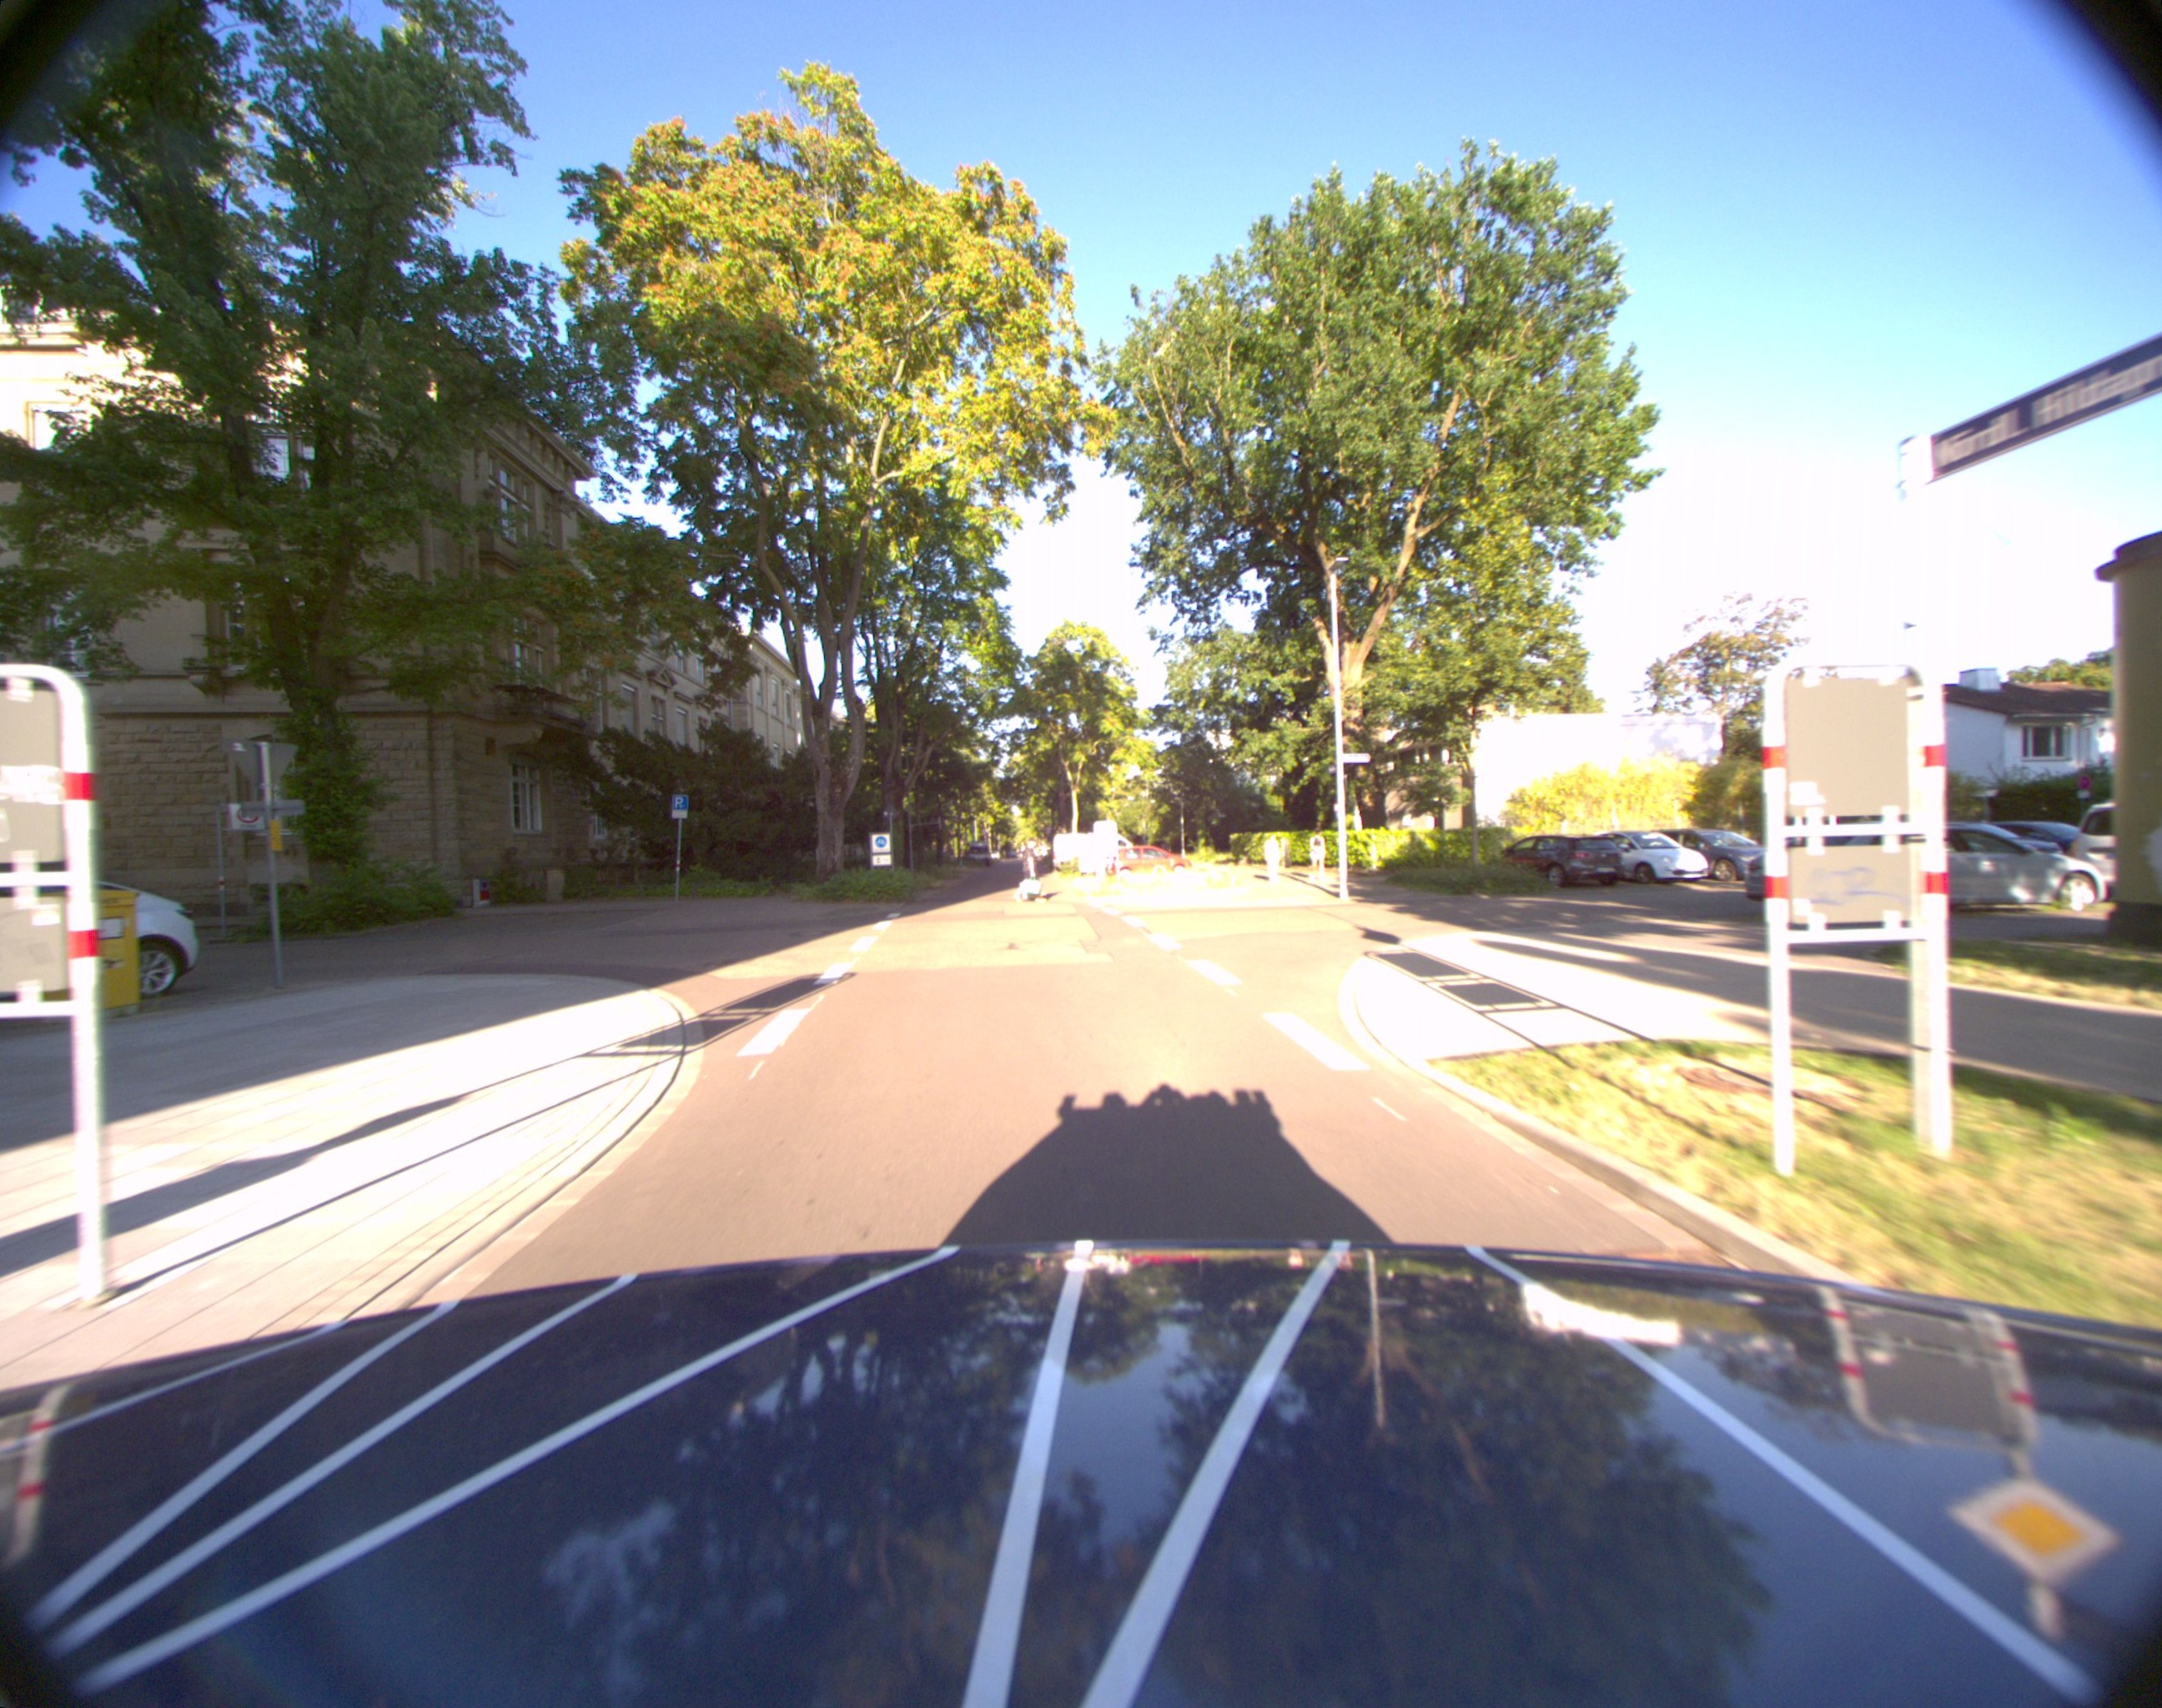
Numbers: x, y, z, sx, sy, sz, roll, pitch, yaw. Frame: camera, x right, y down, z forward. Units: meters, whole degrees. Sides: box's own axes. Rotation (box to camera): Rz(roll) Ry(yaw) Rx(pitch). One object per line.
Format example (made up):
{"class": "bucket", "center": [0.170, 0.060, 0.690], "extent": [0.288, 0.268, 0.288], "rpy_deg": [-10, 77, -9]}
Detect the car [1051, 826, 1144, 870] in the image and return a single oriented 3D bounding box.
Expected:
{"class": "car", "center": [1.053, -0.402, 51.044], "extent": [5.909, 2.685, 2.219], "rpy_deg": [-2, 1, -7]}

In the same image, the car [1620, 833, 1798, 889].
{"class": "car", "center": [18.708, 0.138, 22.902], "extent": [1.810, 1.449, 4.096], "rpy_deg": [-2, 2, -4]}

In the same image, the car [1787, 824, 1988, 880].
{"class": "car", "center": [24.470, -0.121, 23.279], "extent": [1.745, 1.529, 3.920], "rpy_deg": [-2, 2, -8]}

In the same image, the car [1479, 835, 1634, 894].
{"class": "car", "center": [13.596, 0.260, 22.011], "extent": [1.645, 1.507, 3.997], "rpy_deg": [-2, 1, -7]}

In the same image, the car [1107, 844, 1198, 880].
{"class": "car", "center": [3.106, 0.345, 33.462], "extent": [3.679, 1.412, 1.717], "rpy_deg": [-2, 1, -7]}

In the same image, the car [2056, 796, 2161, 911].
{"class": "car", "center": [19.956, -0.079, 13.163], "extent": [4.237, 1.905, 1.761], "rpy_deg": [-2, 1, -6]}

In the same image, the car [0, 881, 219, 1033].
{"class": "car", "center": [-12.252, 1.101, 7.768], "extent": [1.967, 1.579, 4.719], "rpy_deg": [-2, -2, -9]}

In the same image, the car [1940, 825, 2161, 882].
{"class": "car", "center": [29.569, -0.076, 23.314], "extent": [1.745, 1.529, 3.920], "rpy_deg": [-2, 2, -8]}

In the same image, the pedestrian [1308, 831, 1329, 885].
{"class": "pedestrian", "center": [7.963, 0.122, 25.478], "extent": [0.435, 1.765, 0.666], "rpy_deg": [-2, 1, -1]}

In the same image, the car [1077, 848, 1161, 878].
{"class": "car", "center": [1.912, 0.445, 38.991], "extent": [4.059, 1.412, 1.717], "rpy_deg": [-2, 1, -7]}

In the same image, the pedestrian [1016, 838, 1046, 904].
{"class": "pedestrian", "center": [-1.454, 0.485, 22.254], "extent": [0.615, 1.907, 0.721], "rpy_deg": [0, 0, -29]}

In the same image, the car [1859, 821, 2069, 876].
{"class": "car", "center": [27.158, -0.218, 23.594], "extent": [1.745, 1.529, 3.920], "rpy_deg": [-2, 2, -8]}

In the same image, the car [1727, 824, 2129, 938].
{"class": "car", "center": [13.610, 0.382, 12.375], "extent": [4.837, 1.549, 1.867], "rpy_deg": [-2, 1, -6]}

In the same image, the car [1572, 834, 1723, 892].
{"class": "car", "center": [16.225, 0.187, 21.977], "extent": [1.637, 1.483, 3.352], "rpy_deg": [-2, 2, -8]}

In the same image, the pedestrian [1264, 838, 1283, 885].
{"class": "pedestrian", "center": [6.563, 0.244, 25.958], "extent": [0.435, 1.572, 0.666], "rpy_deg": [-2, 1, -1]}

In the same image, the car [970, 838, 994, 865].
{"class": "car", "center": [-9.973, -0.283, 76.777], "extent": [1.952, 2.584, 4.164], "rpy_deg": [-2, 1, -2]}
